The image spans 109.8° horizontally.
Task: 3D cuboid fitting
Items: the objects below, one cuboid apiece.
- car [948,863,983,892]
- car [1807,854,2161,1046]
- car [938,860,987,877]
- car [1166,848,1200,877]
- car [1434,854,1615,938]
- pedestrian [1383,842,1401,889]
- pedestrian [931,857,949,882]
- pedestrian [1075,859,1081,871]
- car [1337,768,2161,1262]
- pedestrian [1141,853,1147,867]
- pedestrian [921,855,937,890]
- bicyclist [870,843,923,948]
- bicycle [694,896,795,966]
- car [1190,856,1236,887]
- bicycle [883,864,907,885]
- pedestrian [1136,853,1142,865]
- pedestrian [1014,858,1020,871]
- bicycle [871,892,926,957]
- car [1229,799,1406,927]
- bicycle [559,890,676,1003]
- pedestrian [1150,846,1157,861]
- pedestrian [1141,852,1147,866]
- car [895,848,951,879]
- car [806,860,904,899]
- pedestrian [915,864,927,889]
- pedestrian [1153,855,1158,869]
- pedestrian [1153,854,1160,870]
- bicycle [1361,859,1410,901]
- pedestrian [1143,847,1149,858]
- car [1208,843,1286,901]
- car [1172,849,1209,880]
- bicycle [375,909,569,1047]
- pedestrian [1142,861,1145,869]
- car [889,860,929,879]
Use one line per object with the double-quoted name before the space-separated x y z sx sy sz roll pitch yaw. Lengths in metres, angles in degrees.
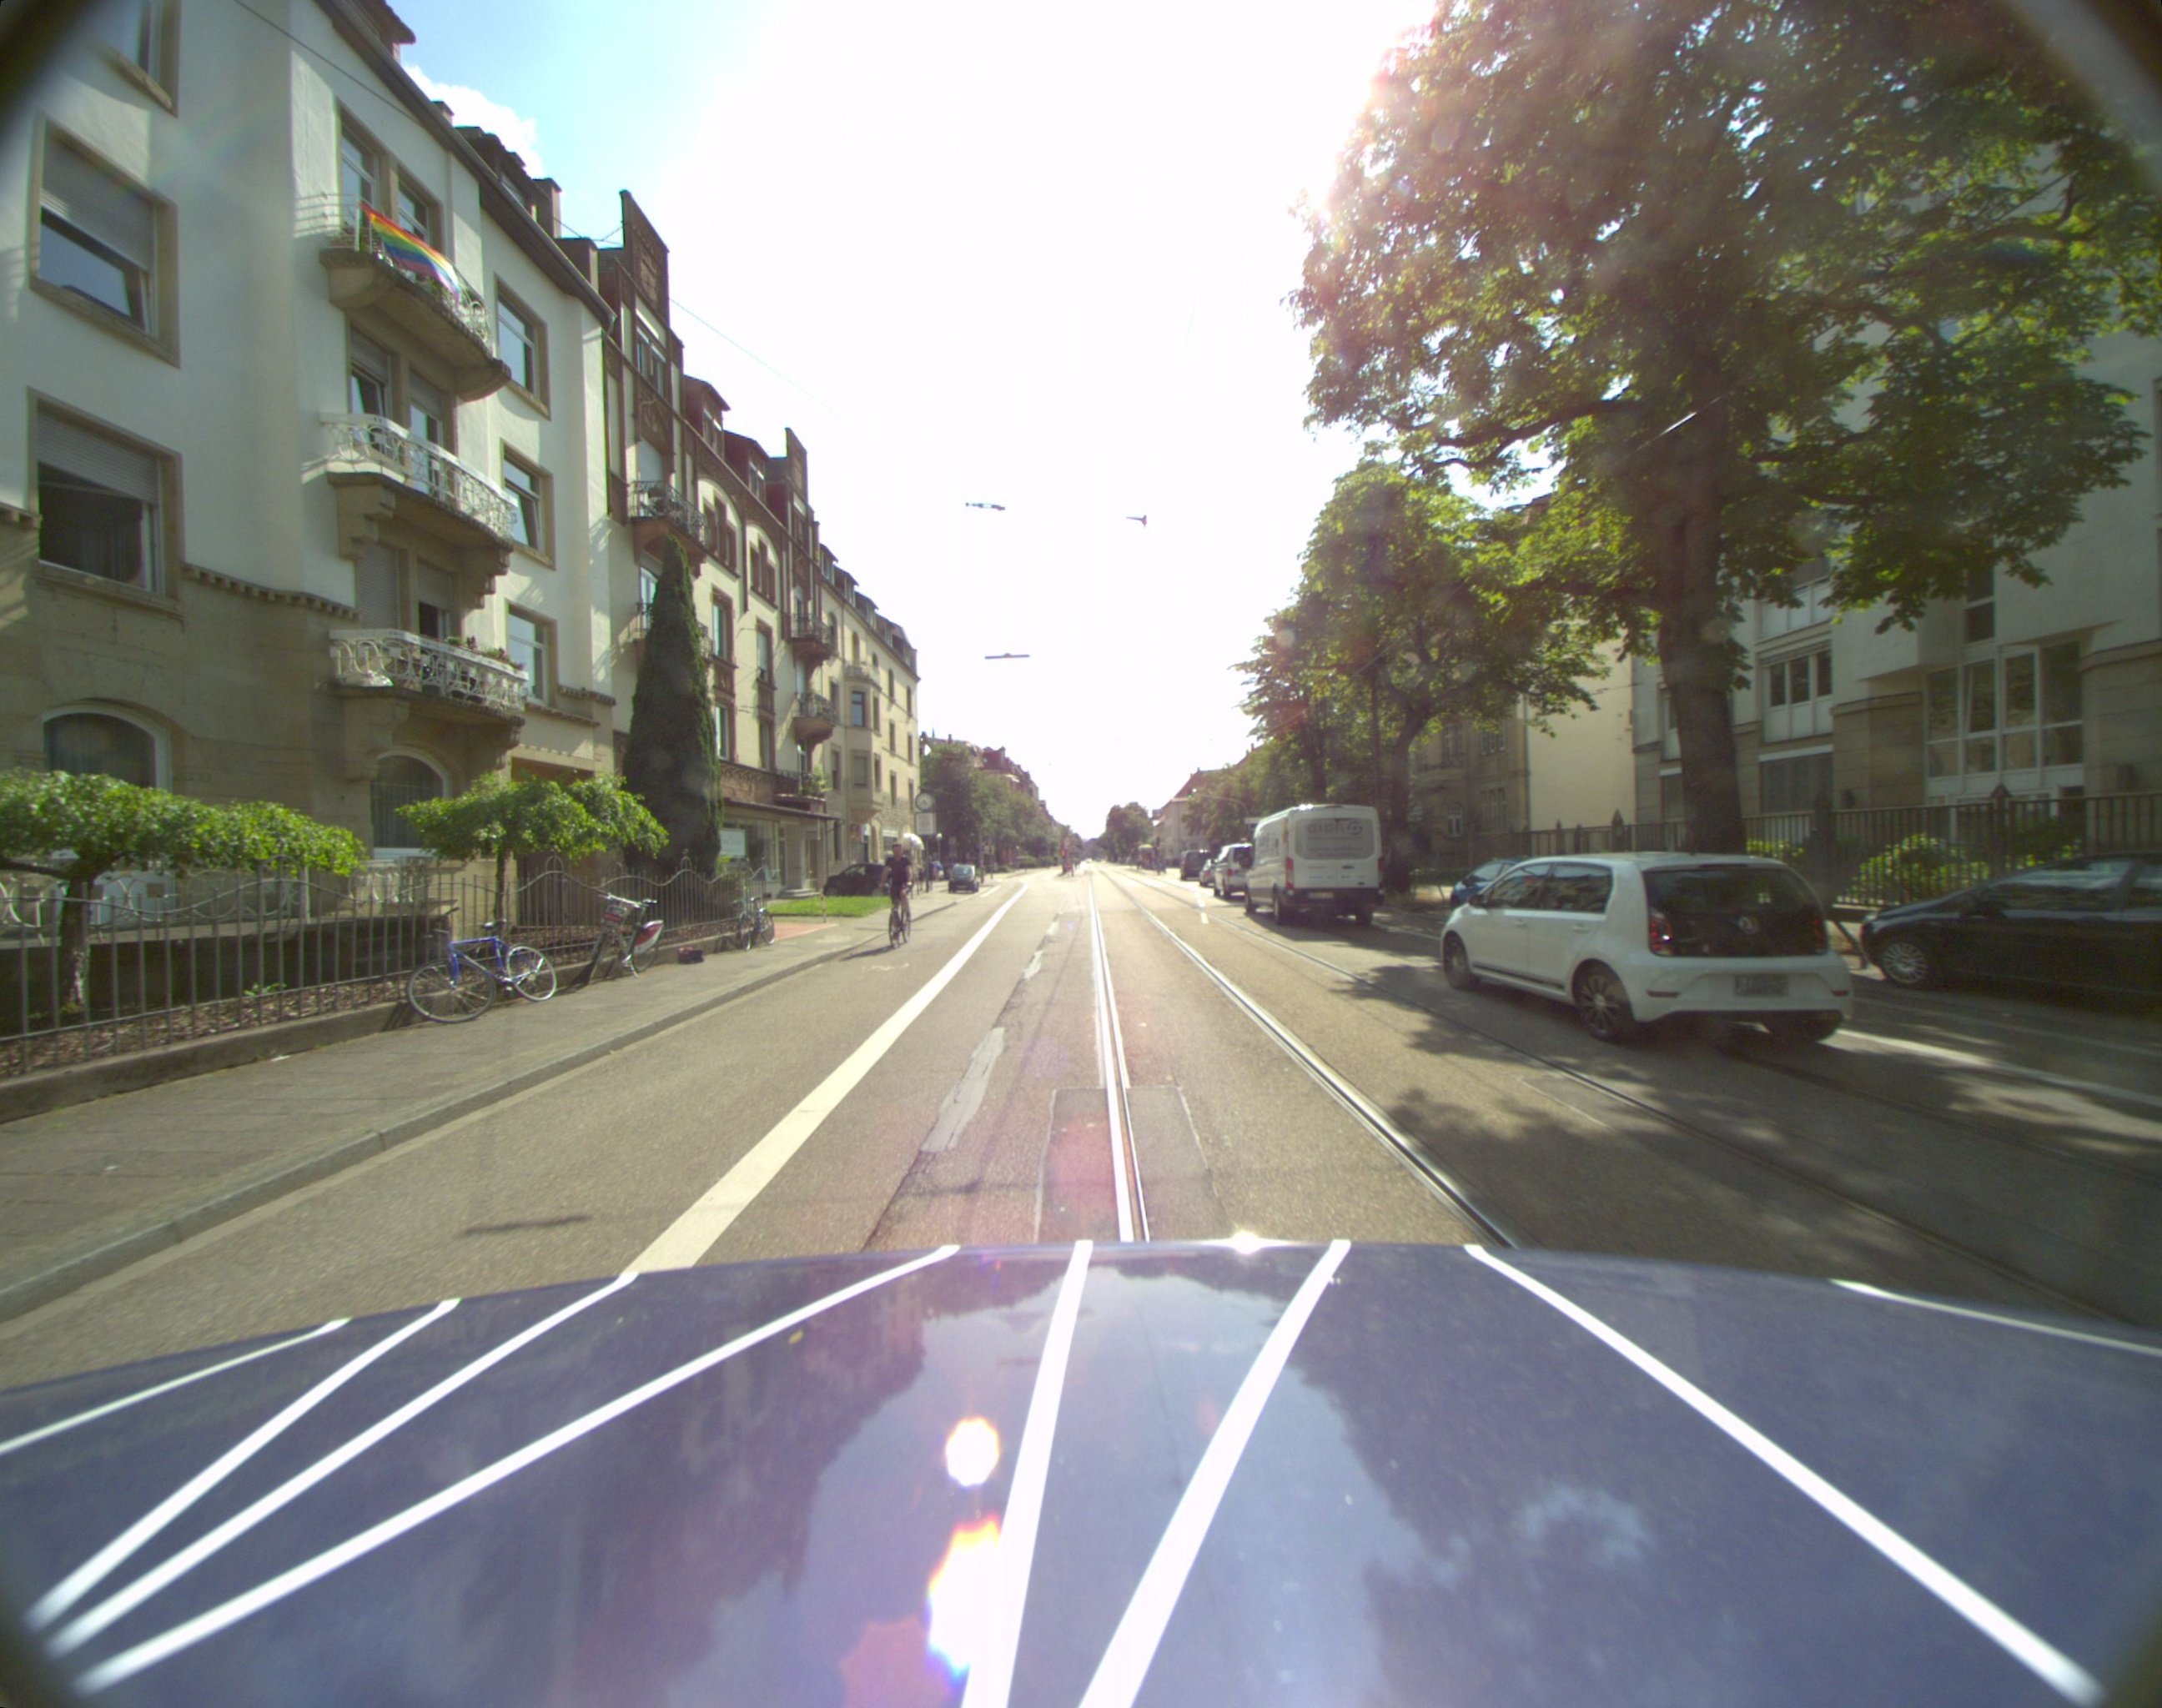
"car" -6.373 1.263 42.127 1.517 1.490 2.793 1 0 -2
"car" 9.515 0.778 7.002 1.630 1.463 4.205 -4 -1 1
"car" -10.242 1.285 65.785 3.989 1.410 1.896 -1 0 36
"car" 7.980 0.606 59.825 1.998 1.984 5.087 -2 2 1
"car" 9.591 0.823 16.835 1.553 1.510 4.085 -3 1 0
"pedestrian" 13.516 0.510 33.059 0.484 2.002 0.807 -3 1 33
"pedestrian" -10.506 1.149 56.722 1.013 1.758 0.850 6 0 1
"pedestrian" -0.431 1.448 99.620 0.702 1.524 0.557 -3 1 0
"car" 4.679 0.828 7.103 2.322 2.493 6.362 -1 0 -1
"pedestrian" 7.732 0.744 93.477 0.657 1.632 0.638 1 1 0
"pedestrian" -8.300 1.005 41.490 0.661 1.831 0.873 5 0 -8
"bicyclist" -3.555 0.769 14.725 0.608 1.937 1.130 -3 1 0
"bicycle" -6.096 1.350 13.995 0.600 0.955 3.065 2 0 -2
"car" 7.016 0.891 40.665 1.697 1.472 4.480 1 1 0
"bicycle" -11.373 1.230 46.610 0.807 1.171 2.751 -3 1 -2
"pedestrian" 7.601 0.629 98.890 0.657 1.598 0.638 1 1 -5
"pedestrian" -8.449 1.339 100.020 0.707 1.644 0.534 -3 1 0
"bicycle" -3.527 1.337 14.825 0.617 1.039 1.835 1 1 0
"car" 5.323 0.223 18.286 2.321 2.492 6.364 -1 -1 1
"bicycle" -5.948 1.135 9.866 0.452 1.253 1.843 1 0 -2
"pedestrian" 8.160 -0.058 85.849 0.473 1.647 0.746 7 1 0
"pedestrian" 7.535 0.582 91.115 0.498 1.660 0.678 1 1 -5
"car" -15.204 0.922 72.714 2.397 2.777 6.657 -2 -1 -39
"car" -9.251 1.035 31.256 3.409 1.515 1.972 0 0 3
"pedestrian" -8.717 1.243 41.430 0.571 1.318 0.442 3 0 -8
"pedestrian" 7.813 0.859 80.057 0.429 1.495 0.704 0 1 0
"pedestrian" 7.283 0.799 73.320 0.538 1.533 0.516 -1 -1 0
"bicycle" 10.339 0.863 25.747 2.060 1.301 0.619 -4 1 -41
"pedestrian" 7.707 -0.186 89.637 0.605 1.329 0.406 1 1 -5
"car" 6.020 0.621 28.181 1.991 1.951 5.180 0 0 2
"car" 7.387 0.663 51.708 1.932 1.906 5.124 1 1 2
"bicycle" -6.113 1.187 7.769 0.452 1.116 1.844 1 0 1
"pedestrian" 7.478 1.363 91.287 0.340 0.925 0.346 1 1 -7
"car" -15.673 1.413 69.112 1.731 1.545 4.102 -5 2 -42
